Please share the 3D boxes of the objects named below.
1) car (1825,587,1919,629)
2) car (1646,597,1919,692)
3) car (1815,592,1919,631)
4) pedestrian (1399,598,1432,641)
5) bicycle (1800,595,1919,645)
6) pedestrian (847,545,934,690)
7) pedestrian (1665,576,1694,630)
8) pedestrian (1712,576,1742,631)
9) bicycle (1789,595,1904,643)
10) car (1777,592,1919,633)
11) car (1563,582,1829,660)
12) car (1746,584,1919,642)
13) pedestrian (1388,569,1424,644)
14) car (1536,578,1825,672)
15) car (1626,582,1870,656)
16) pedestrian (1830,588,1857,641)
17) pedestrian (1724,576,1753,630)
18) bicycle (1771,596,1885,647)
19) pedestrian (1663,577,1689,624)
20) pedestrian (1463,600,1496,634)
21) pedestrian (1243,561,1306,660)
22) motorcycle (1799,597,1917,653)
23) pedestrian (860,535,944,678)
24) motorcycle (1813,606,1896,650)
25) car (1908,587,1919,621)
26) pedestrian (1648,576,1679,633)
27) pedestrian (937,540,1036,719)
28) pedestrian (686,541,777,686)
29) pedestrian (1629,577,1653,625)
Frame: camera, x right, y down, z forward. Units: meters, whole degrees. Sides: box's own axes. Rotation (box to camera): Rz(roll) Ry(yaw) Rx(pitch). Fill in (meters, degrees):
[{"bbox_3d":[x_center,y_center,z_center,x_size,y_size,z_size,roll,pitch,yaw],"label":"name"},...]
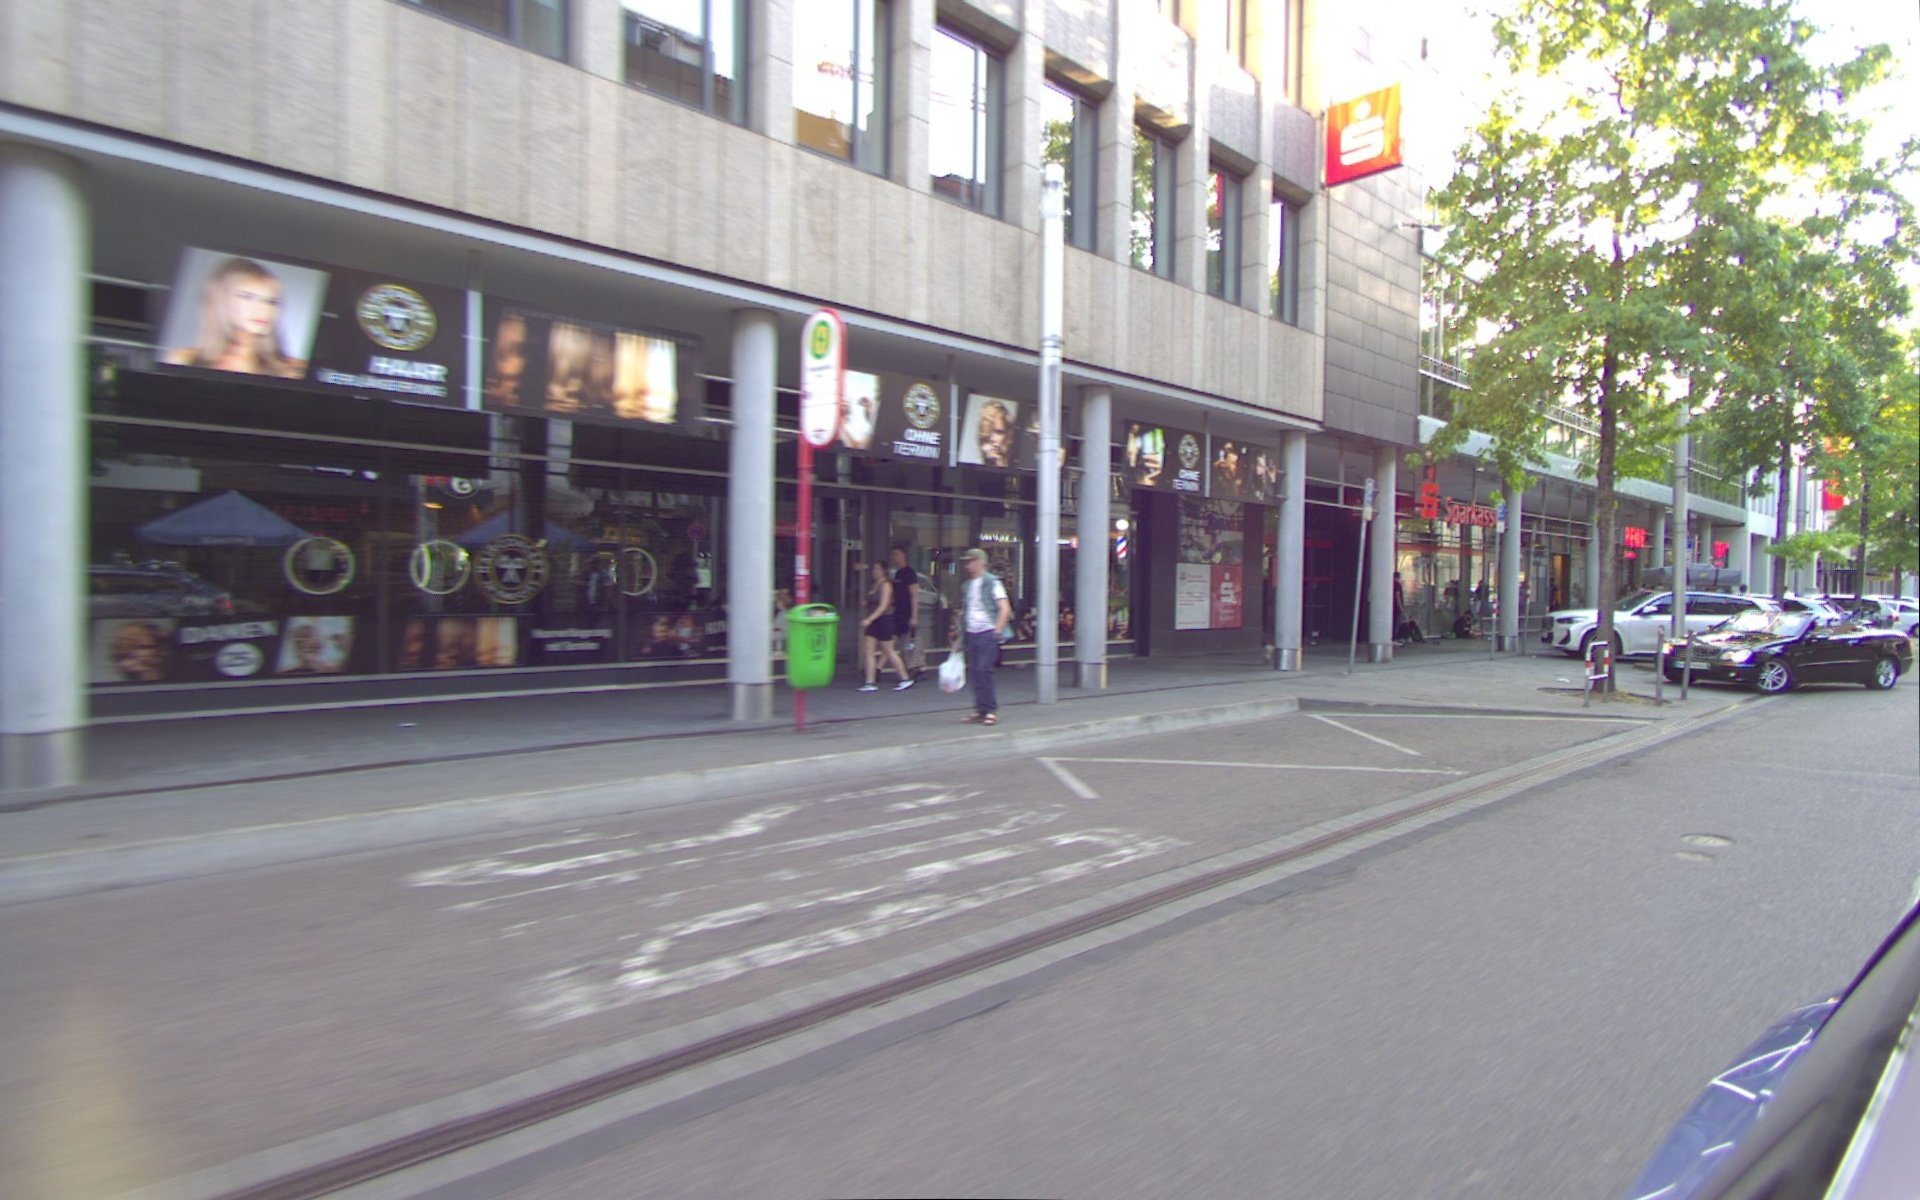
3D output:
[{"bbox_3d":[42.099,0.371,45.860,3.957,1.809,1.849,-2,-1,25],"label":"car"},{"bbox_3d":[14.252,0.692,17.310,4.469,1.426,1.803,-1,0,-19],"label":"car"},{"bbox_3d":[38.846,0.486,42.542,3.948,1.530,1.853,-2,-1,19],"label":"car"},{"bbox_3d":[11.398,0.481,25.317,0.625,1.048,0.550,2,2,40],"label":"pedestrian"},{"bbox_3d":[27.730,0.620,31.228,2.642,1.475,0.724,-1,-1,22],"label":"bicycle"},{"bbox_3d":[-0.830,0.182,12.070,0.775,1.664,0.682,-1,2,-43],"label":"pedestrian"},{"bbox_3d":[23.627,0.090,33.243,0.617,1.712,0.617,0,2,-41],"label":"pedestrian"},{"bbox_3d":[24.638,0.096,32.492,0.617,1.712,0.617,0,2,-41],"label":"pedestrian"},{"bbox_3d":[28.222,0.604,32.277,2.643,1.475,0.671,-1,-1,23],"label":"bicycle"},{"bbox_3d":[35.760,0.526,40.782,3.948,1.530,1.789,-2,-1,19],"label":"car"},{"bbox_3d":[16.947,0.431,23.622,4.583,1.457,1.905,3,3,22],"label":"car"},{"bbox_3d":[31.029,0.480,36.015,4.397,1.904,1.793,-2,-1,12],"label":"car"},{"bbox_3d":[10.785,0.144,24.459,0.617,1.794,0.557,0,2,-41],"label":"pedestrian"},{"bbox_3d":[15.167,0.483,21.624,4.575,1.650,1.908,3,1,17],"label":"car"},{"bbox_3d":[20.462,0.432,26.517,4.570,1.607,1.910,3,2,15],"label":"car"},{"bbox_3d":[28.881,0.466,33.067,0.616,1.712,0.618,1,1,44],"label":"pedestrian"},{"bbox_3d":[25.372,0.085,32.975,0.617,1.712,0.617,0,2,-41],"label":"pedestrian"},{"bbox_3d":[26.053,0.644,30.421,2.461,1.475,0.652,-1,-1,24],"label":"bicycle"},{"bbox_3d":[26.286,0.017,37.159,0.617,1.712,0.617,0,2,-41],"label":"pedestrian"},{"bbox_3d":[14.388,0.458,28.023,0.548,0.892,0.627,-1,2,-42],"label":"pedestrian"},{"bbox_3d":[5.439,0.157,17.533,0.728,1.664,0.749,-1,2,-42],"label":"pedestrian"},{"bbox_3d":[24.133,0.656,27.236,2.071,1.370,1.157,2,2,0],"label":"motorcycle"},{"bbox_3d":[-0.756,0.067,13.246,0.849,1.794,0.674,-1,2,-43],"label":"pedestrian"},{"bbox_3d":[25.069,0.765,28.392,1.555,1.113,0.624,3,2,24],"label":"motorcycle"},{"bbox_3d":[52.543,0.173,53.163,3.919,1.809,1.867,-1,-1,-7],"label":"car"},{"bbox_3d":[21.807,0.126,31.372,0.617,1.712,0.617,0,2,-41],"label":"pedestrian"},{"bbox_3d":[0.247,0.262,9.530,0.627,1.608,0.669,0,0,-42],"label":"pedestrian"},{"bbox_3d":[-2.729,0.137,12.079,0.805,1.664,0.711,-1,2,-43],"label":"pedestrian"},{"bbox_3d":[24.533,0.033,36.445,0.617,1.712,0.557,0,2,-41],"label":"pedestrian"}]
